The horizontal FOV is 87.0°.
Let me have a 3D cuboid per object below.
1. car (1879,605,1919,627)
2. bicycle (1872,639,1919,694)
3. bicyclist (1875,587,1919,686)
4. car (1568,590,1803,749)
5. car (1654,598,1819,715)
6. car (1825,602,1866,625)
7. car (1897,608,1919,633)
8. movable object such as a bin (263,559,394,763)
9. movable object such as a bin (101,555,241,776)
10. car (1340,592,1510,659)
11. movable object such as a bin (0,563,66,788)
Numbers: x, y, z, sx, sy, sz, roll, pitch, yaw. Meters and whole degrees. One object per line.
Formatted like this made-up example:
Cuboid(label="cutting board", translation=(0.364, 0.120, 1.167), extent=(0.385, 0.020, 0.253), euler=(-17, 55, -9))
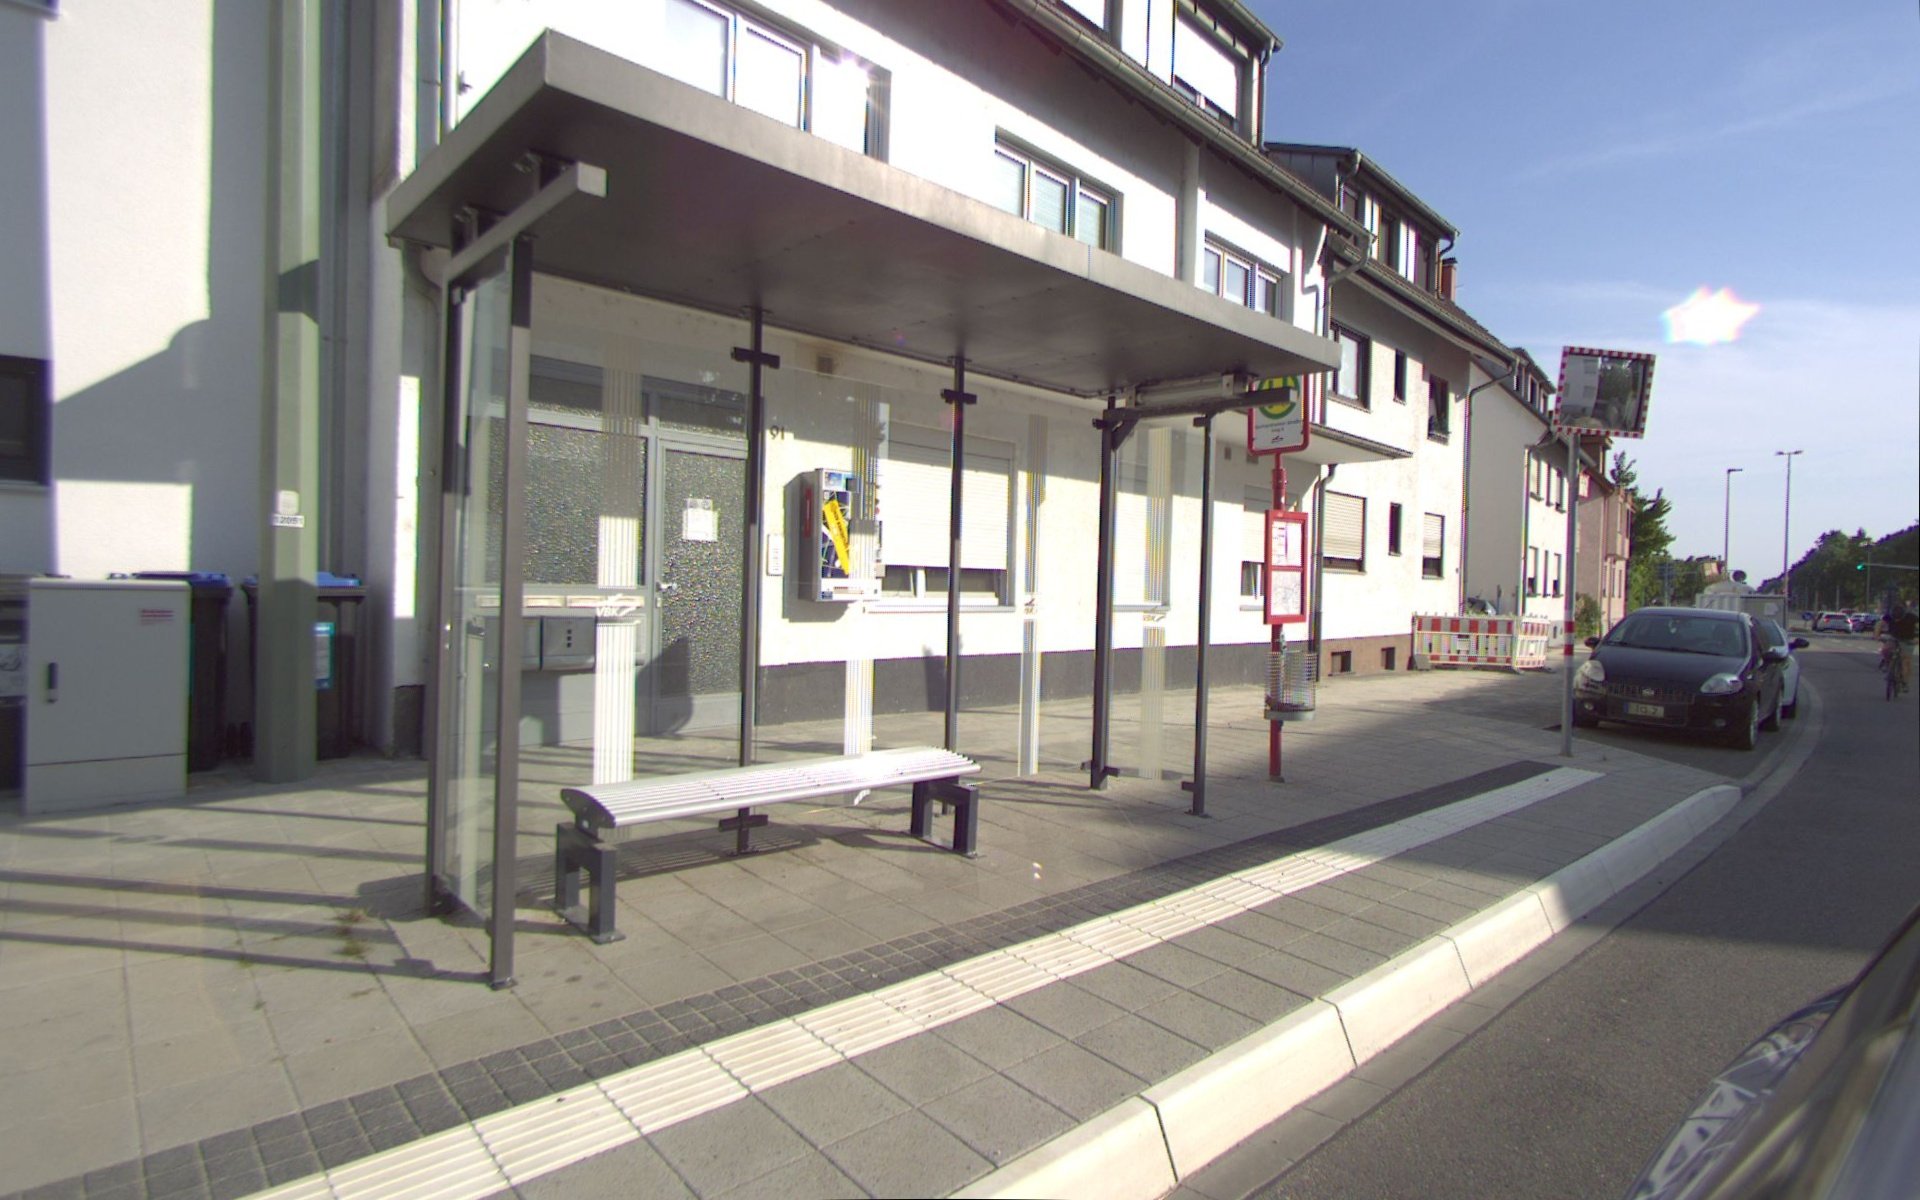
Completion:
Cuboid(label="car", translation=(64.500, 1.070, 69.499), extent=(1.787, 1.460, 3.945), euler=(1, 0, 38))
Cuboid(label="bicycle", translation=(16.737, 1.145, 17.675), extent=(1.987, 0.865, 0.681), euler=(0, 0, -32))
Cuboid(label="bicyclist", translation=(16.724, 0.626, 17.725), extent=(0.860, 1.711, 0.846), euler=(0, 0, -33))
Cuboid(label="car", translation=(8.639, 0.683, 11.917), extent=(1.609, 1.438, 3.857), euler=(6, 4, 44))
Cuboid(label="car", translation=(12.078, 0.750, 15.648), extent=(1.714, 1.414, 4.270), euler=(6, 4, 40))
Cuboid(label="car", translation=(63.658, 0.957, 72.836), extent=(1.973, 1.548, 3.945), euler=(2, 1, 38))
Cuboid(label="car", translation=(58.120, 1.244, 61.194), extent=(1.786, 1.460, 3.944), euler=(0, 0, 38))
Cuboid(label="movable object such as a bin", translation=(-3.743, 0.323, 5.986), extent=(0.549, 1.106, 0.697), euler=(0, 2, -41))
Cuboid(label="movable object such as a bin", translation=(-4.333, 0.319, 5.550), extent=(0.549, 1.106, 0.697), euler=(0, 2, -43))
Cuboid(label="car", translation=(12.193, 0.622, 26.633), extent=(3.738, 1.586, 1.768), euler=(1, 1, 42))
Cuboid(label="movable object such as a bin", translation=(-4.951, 0.356, 5.140), extent=(0.591, 1.072, 0.813), euler=(0, 2, -41))
